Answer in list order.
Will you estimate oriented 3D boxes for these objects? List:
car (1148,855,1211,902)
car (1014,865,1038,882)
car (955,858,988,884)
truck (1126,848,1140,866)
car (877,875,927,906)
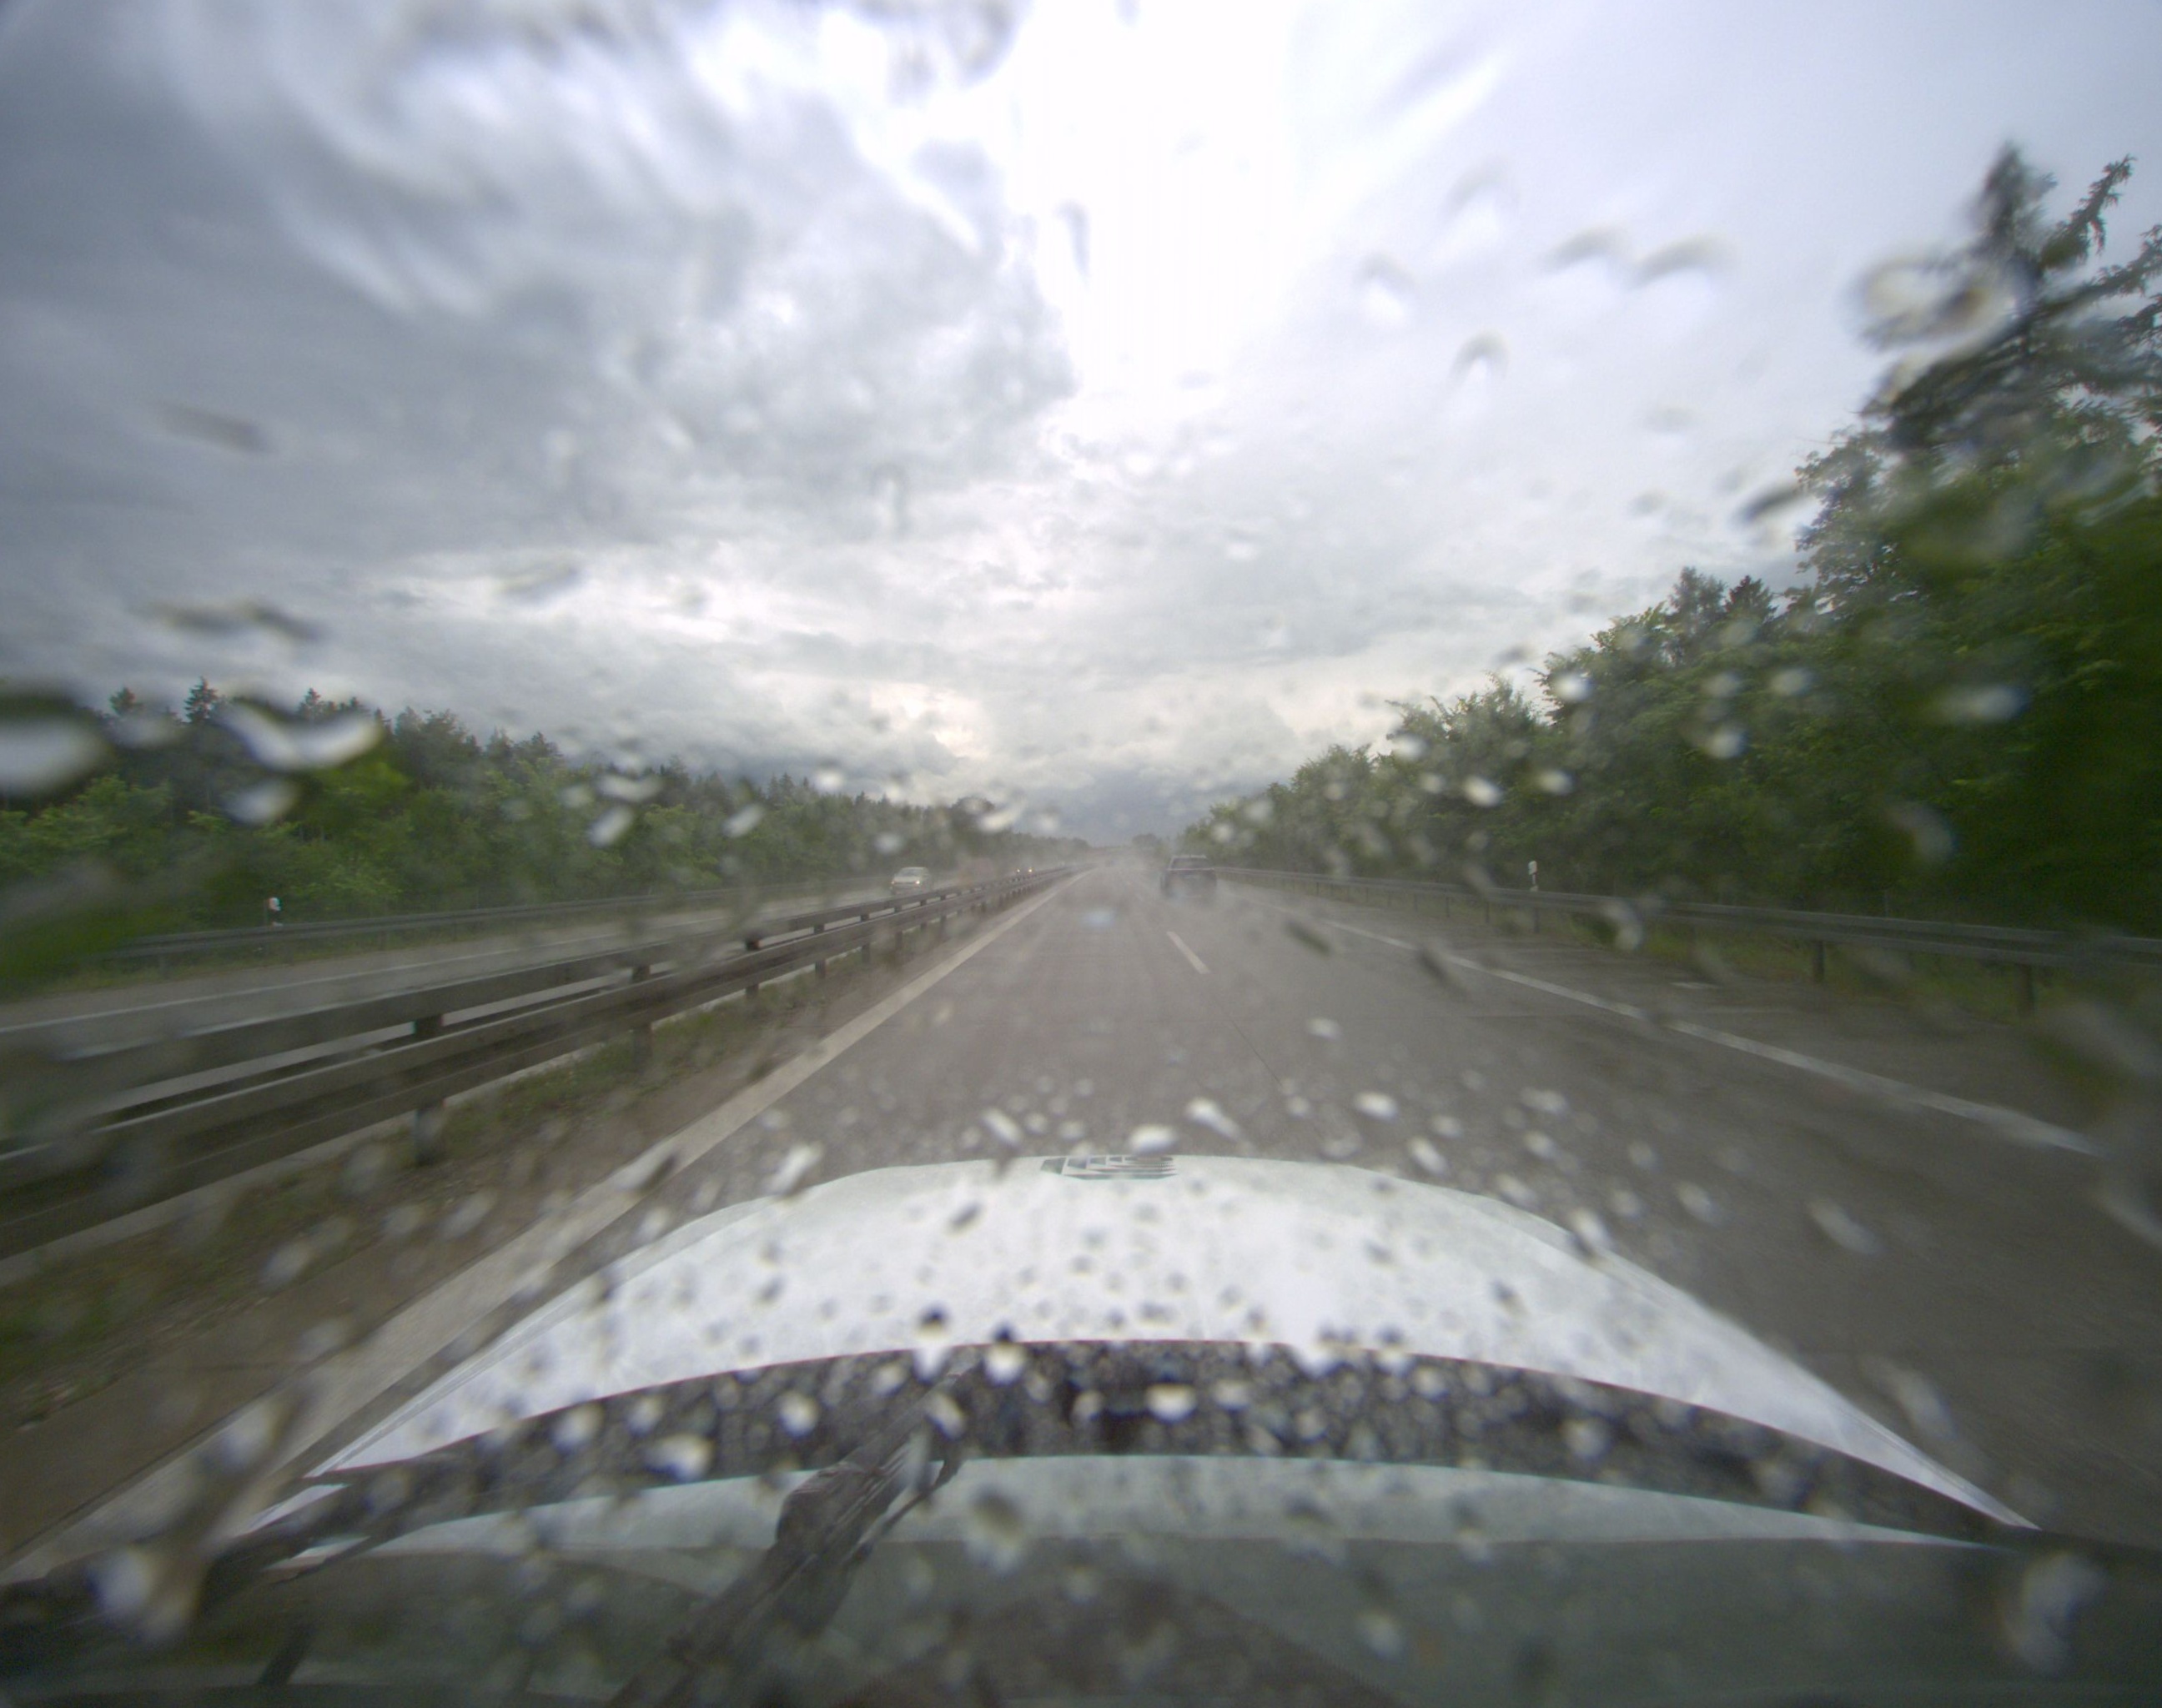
[{"bbox_3d":[3.499,0.871,29.545,1.888,1.576,3.631,-1,-1,0],"label":"car"},{"bbox_3d":[-5.544,1.927,82.853,1.986,1.483,4.558,-4,0,1],"label":"car"},{"bbox_3d":[-9.591,1.468,71.798,1.986,2.064,5.314,-4,0,1],"label":"car"},{"bbox_3d":[13.226,0.776,205.161,3.228,4.437,8.256,-2,-1,5],"label":"truck"},{"bbox_3d":[-9.832,1.970,45.046,1.743,1.435,3.919,-4,0,1],"label":"car"}]
